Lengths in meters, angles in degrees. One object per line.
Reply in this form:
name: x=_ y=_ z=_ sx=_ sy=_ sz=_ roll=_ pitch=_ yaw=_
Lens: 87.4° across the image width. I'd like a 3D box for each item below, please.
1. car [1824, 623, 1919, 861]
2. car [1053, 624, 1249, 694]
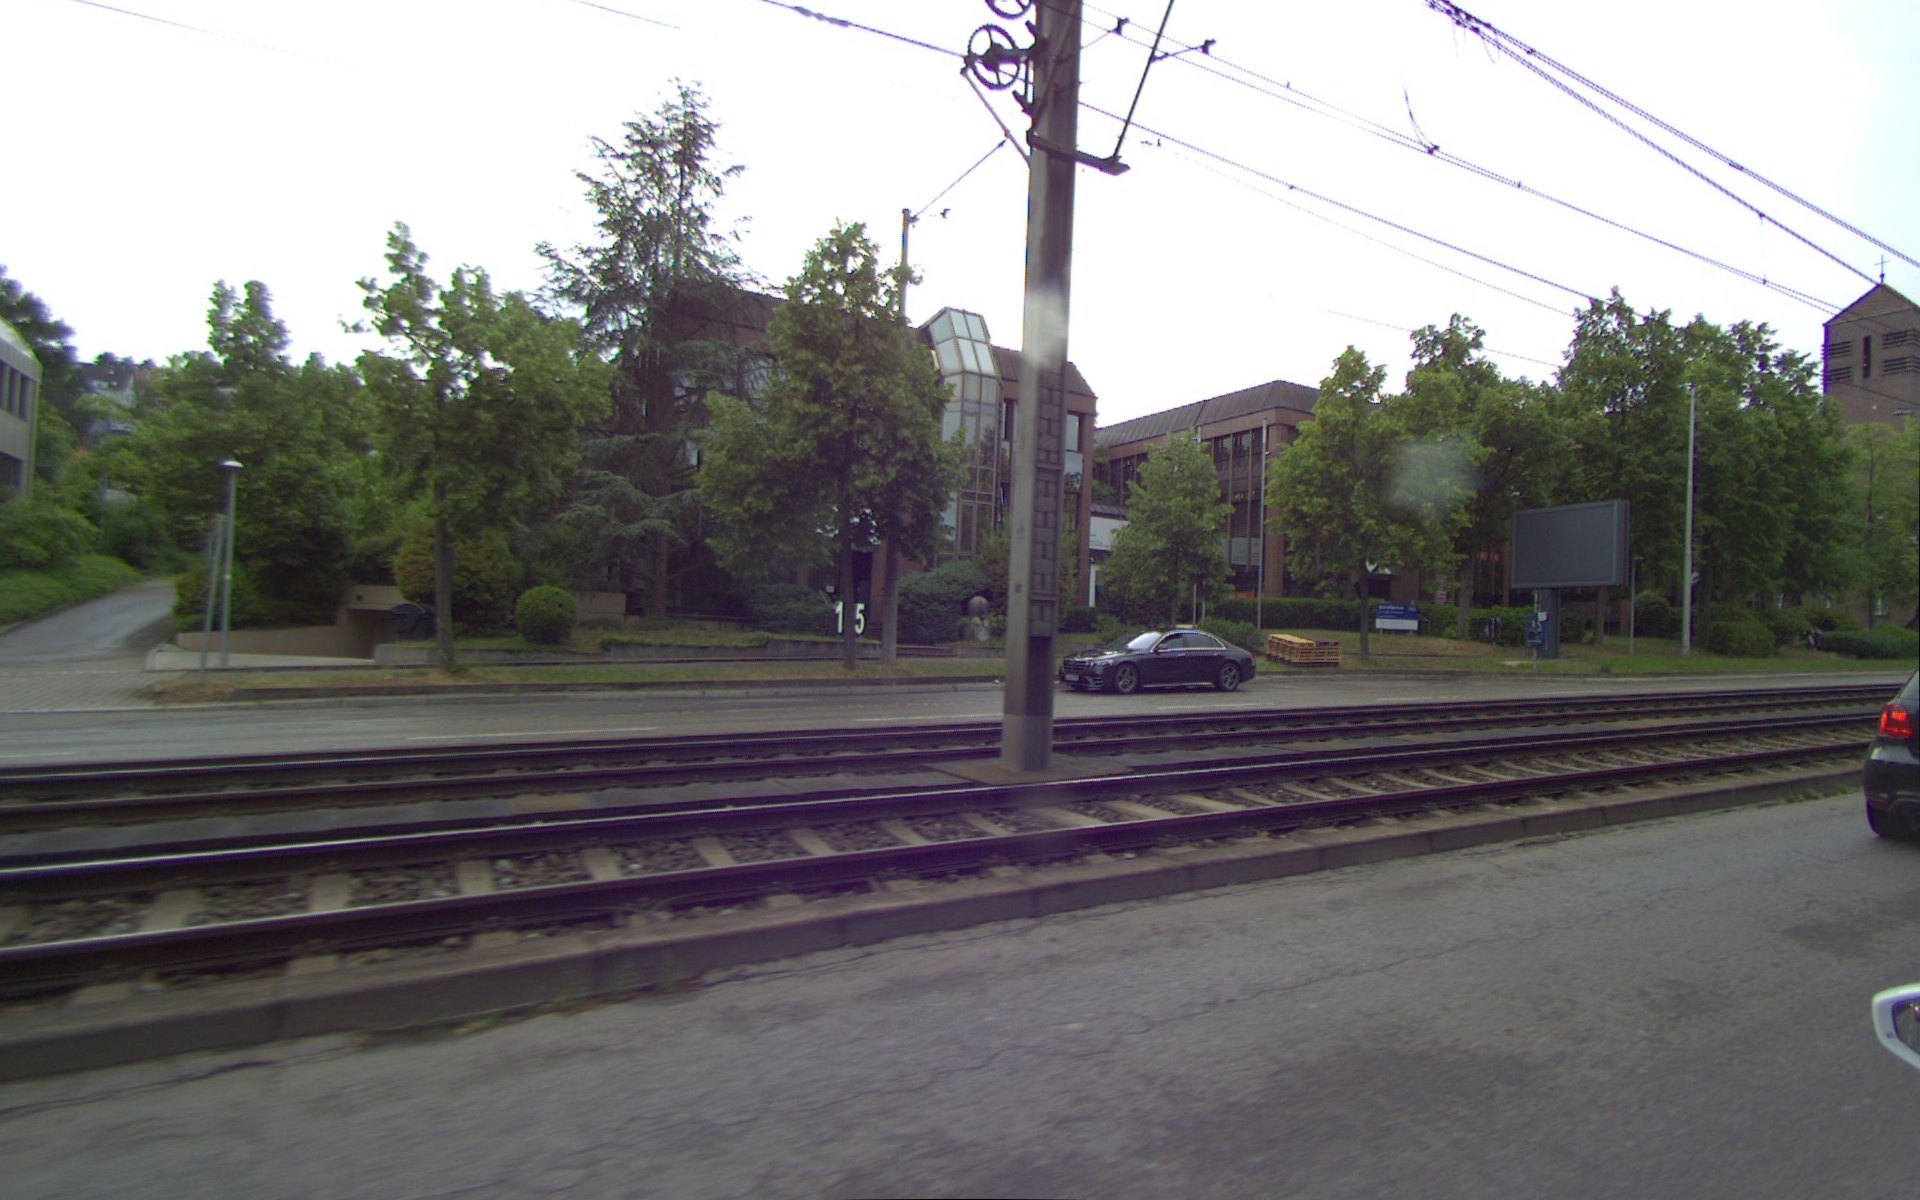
car: x=8.036 y=0.959 z=7.090 sx=3.919 sy=1.505 sz=1.785 roll=1 pitch=1 yaw=-31
car: x=4.614 y=1.375 z=24.125 sx=4.565 sy=1.550 sz=1.787 roll=1 pitch=-2 yaw=-29
